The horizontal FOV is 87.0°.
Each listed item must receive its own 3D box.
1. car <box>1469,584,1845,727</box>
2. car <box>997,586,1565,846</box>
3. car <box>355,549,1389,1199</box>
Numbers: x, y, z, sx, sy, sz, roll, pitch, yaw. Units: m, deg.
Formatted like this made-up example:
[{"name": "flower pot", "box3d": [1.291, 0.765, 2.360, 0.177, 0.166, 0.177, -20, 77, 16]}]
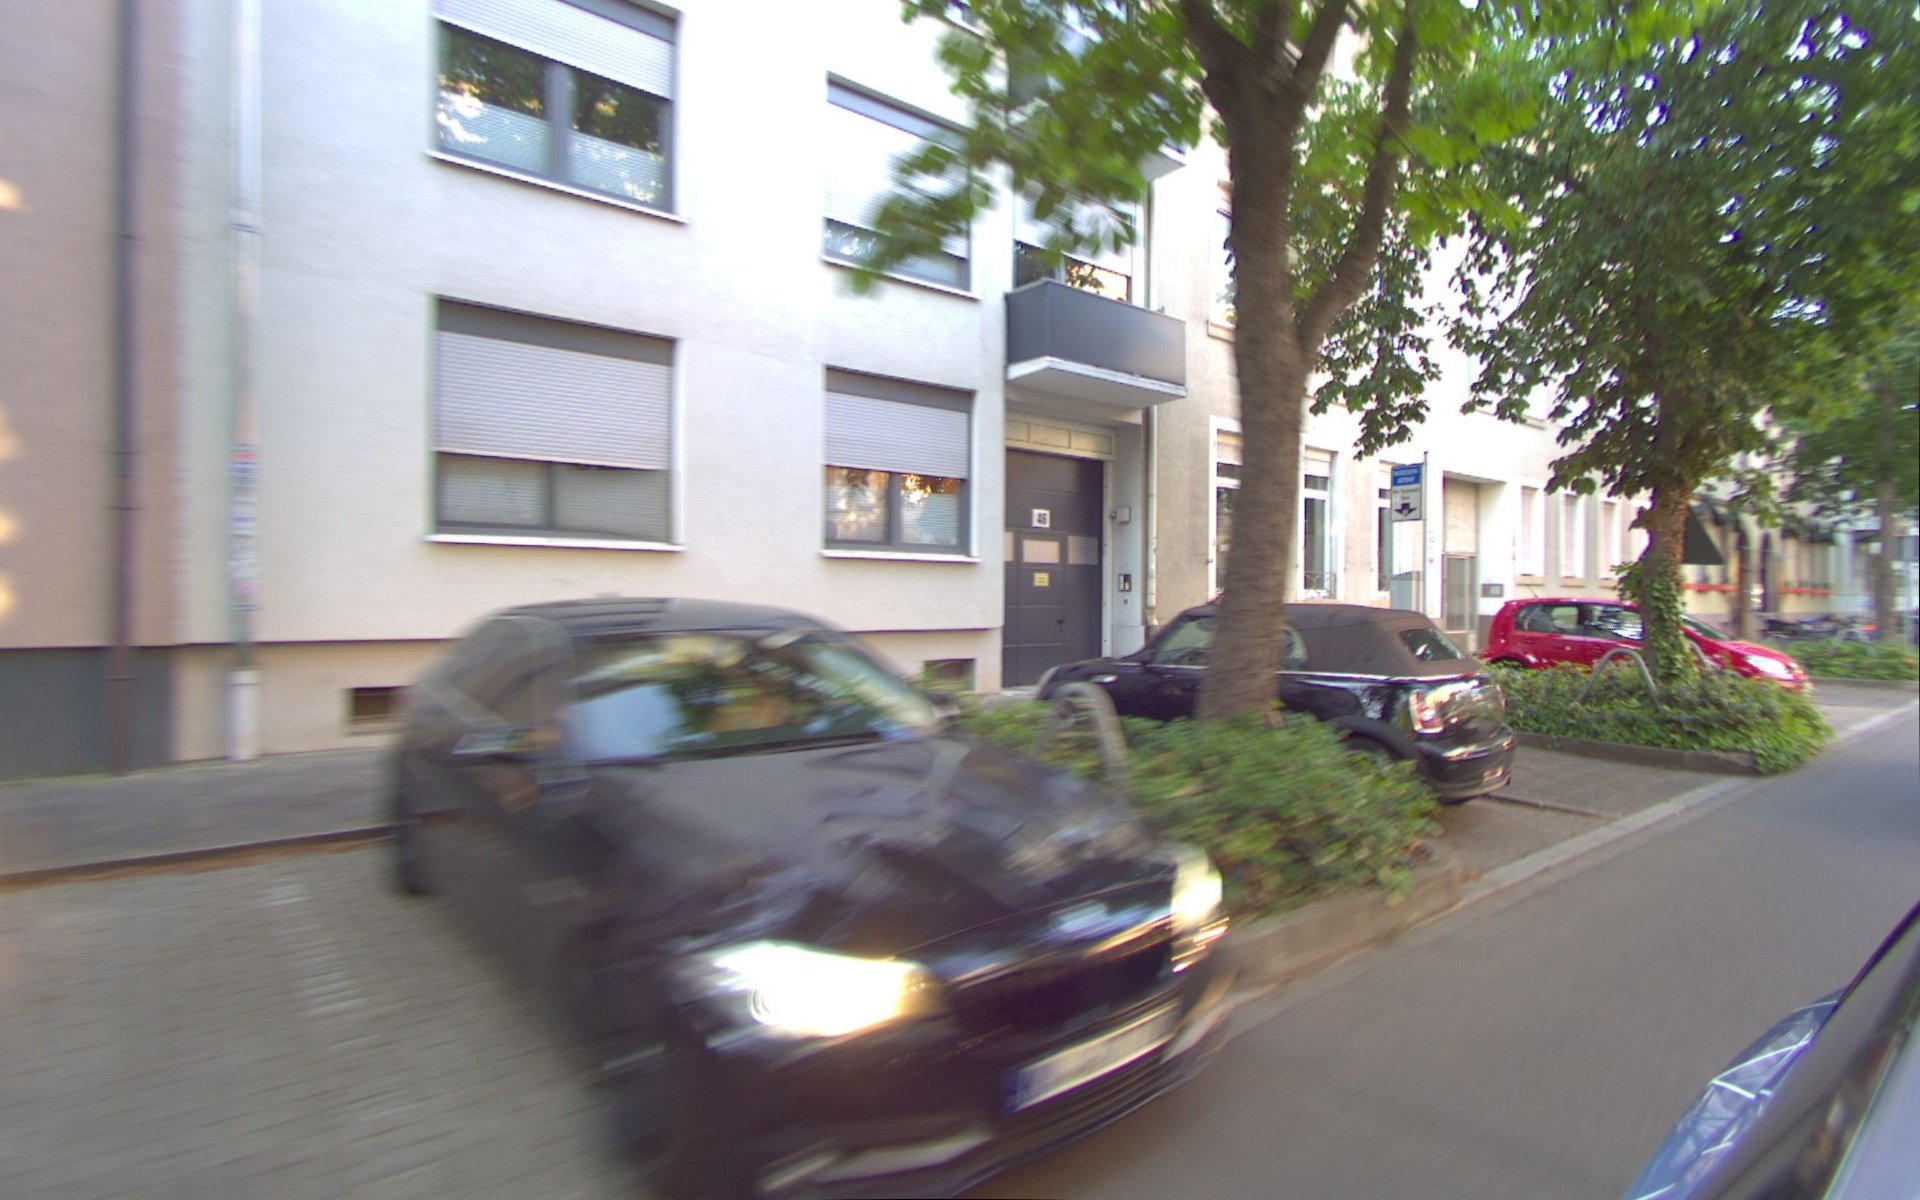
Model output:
[{"name": "car", "box3d": [8.880, 0.597, 13.119, 1.724, 1.572, 3.727, 0, 0, -41]}, {"name": "car", "box3d": [2.233, 0.642, 7.774, 1.684, 1.429, 3.839, 0, 1, -43]}, {"name": "car", "box3d": [-1.030, 0.655, 4.228, 1.952, 1.516, 4.886, 0, 0, -39]}]
